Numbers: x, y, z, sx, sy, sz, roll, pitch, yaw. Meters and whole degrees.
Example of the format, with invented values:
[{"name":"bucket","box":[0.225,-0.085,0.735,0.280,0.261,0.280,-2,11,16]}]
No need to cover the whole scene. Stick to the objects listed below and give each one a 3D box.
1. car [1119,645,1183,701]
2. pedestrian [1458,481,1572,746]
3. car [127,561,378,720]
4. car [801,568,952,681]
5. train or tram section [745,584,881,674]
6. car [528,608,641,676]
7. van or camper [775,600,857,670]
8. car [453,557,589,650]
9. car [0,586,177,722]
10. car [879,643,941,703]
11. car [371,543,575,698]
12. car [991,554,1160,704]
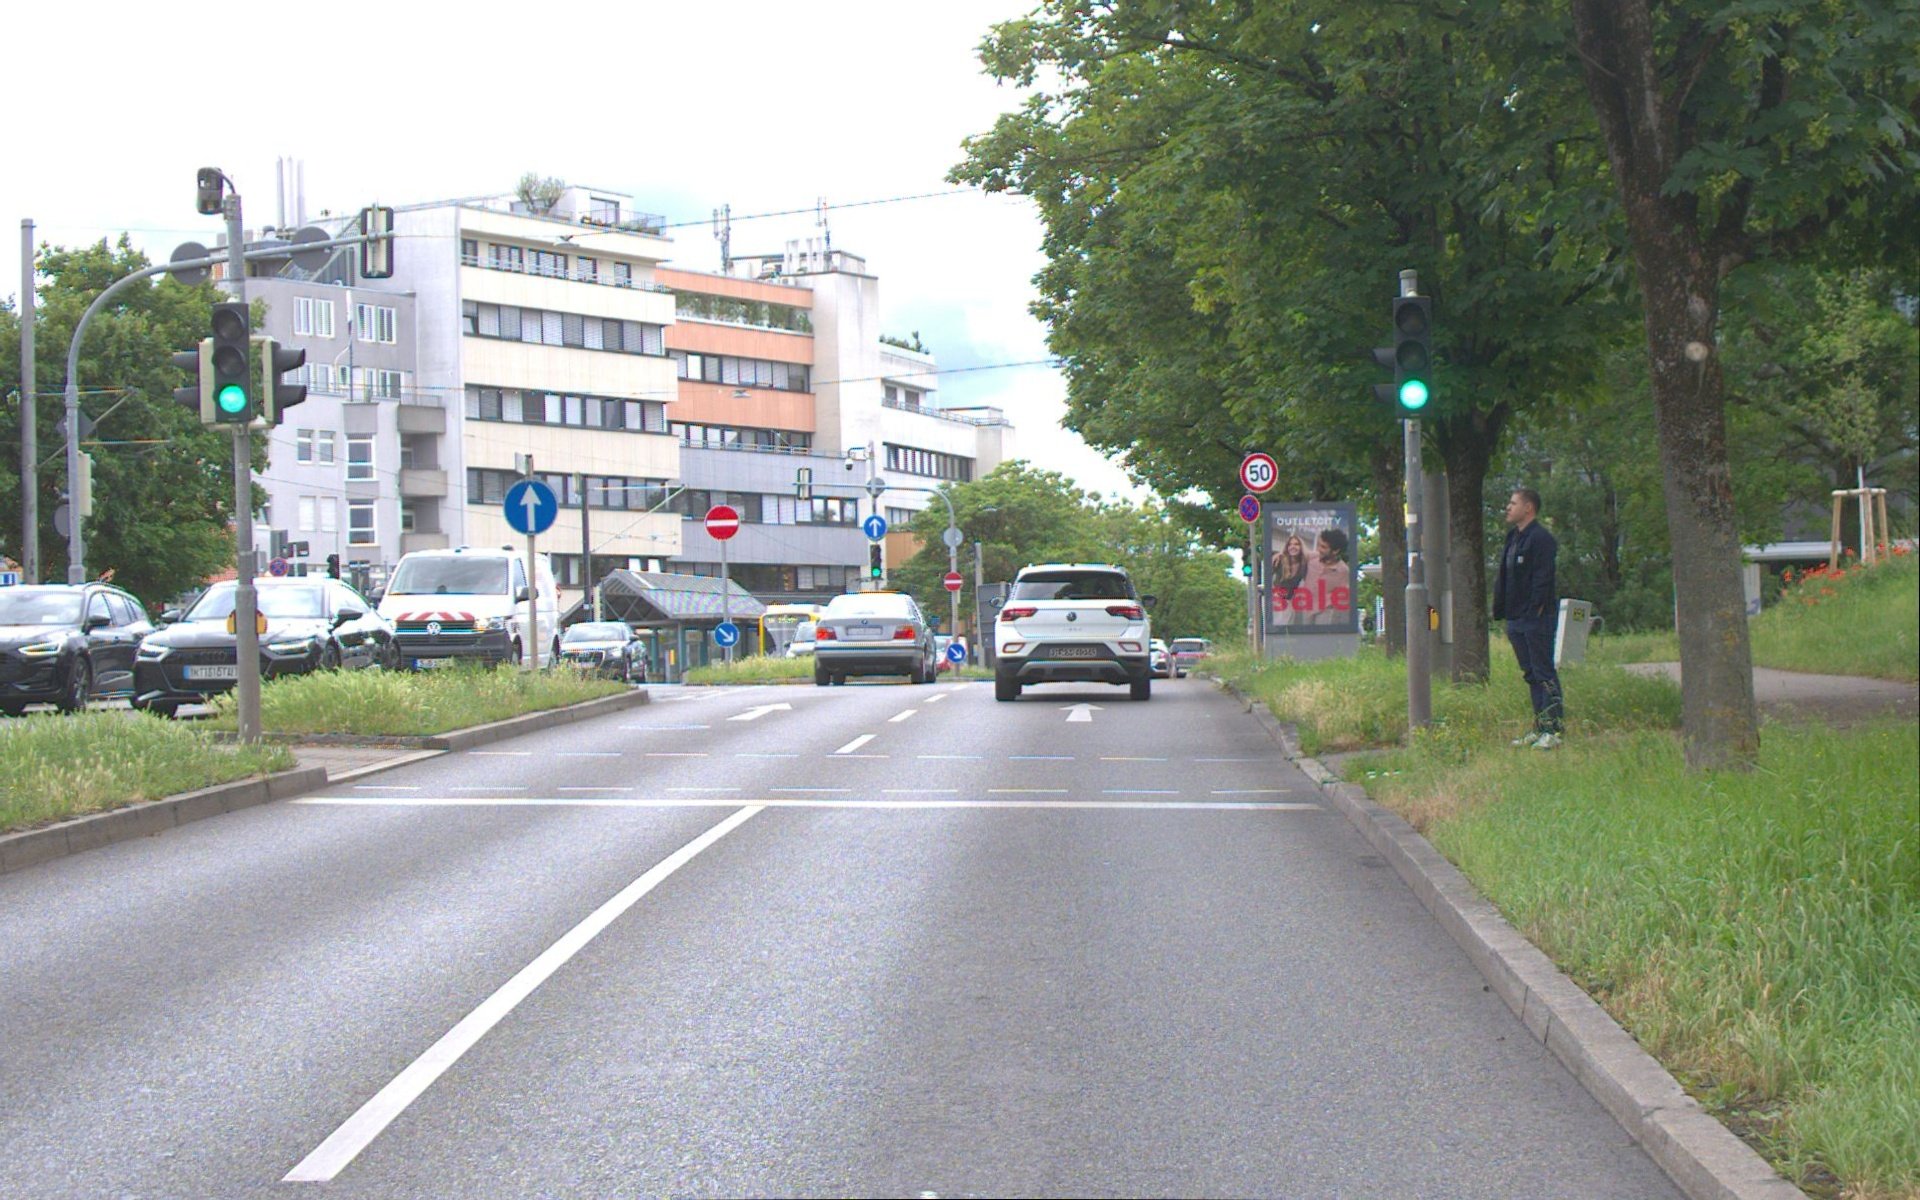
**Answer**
[{"name":"car","box":[6.156,2.348,111.135,1.770,1.565,4.285,-1,1,0]},{"name":"pedestrian","box":[3.938,0.090,24.424,0.642,1.849,0.673,-1,1,-3]},{"name":"car","box":[-7.366,0.377,36.178,1.777,1.476,4.482,-2,1,-1]},{"name":"car","box":[-1.226,0.344,51.817,1.700,1.510,3.735,-1,2,7]},{"name":"train or tram section","box":[-5.915,1.271,141.012,2.560,3.399,13.074,-2,-2,11]},{"name":"car","box":[-8.426,0.923,77.430,1.861,1.423,4.000,-1,0,3]},{"name":"van or camper","box":[-4.009,0.992,96.579,1.926,1.931,5.248,0,-1,2]},{"name":"car","box":[-7.465,0.068,58.827,1.744,1.459,4.000,-2,0,0]},{"name":"car","box":[-10.226,0.566,38.237,1.784,1.374,3.950,0,1,6]},{"name":"car","box":[-1.856,2.745,130.006,1.994,2.007,4.834,1,2,3]},{"name":"car","box":[-6.618,0.228,47.197,1.836,1.995,4.857,0,1,3]},{"name":"car","box":[1.391,0.298,40.011,1.700,1.543,3.736,2,2,5]}]
